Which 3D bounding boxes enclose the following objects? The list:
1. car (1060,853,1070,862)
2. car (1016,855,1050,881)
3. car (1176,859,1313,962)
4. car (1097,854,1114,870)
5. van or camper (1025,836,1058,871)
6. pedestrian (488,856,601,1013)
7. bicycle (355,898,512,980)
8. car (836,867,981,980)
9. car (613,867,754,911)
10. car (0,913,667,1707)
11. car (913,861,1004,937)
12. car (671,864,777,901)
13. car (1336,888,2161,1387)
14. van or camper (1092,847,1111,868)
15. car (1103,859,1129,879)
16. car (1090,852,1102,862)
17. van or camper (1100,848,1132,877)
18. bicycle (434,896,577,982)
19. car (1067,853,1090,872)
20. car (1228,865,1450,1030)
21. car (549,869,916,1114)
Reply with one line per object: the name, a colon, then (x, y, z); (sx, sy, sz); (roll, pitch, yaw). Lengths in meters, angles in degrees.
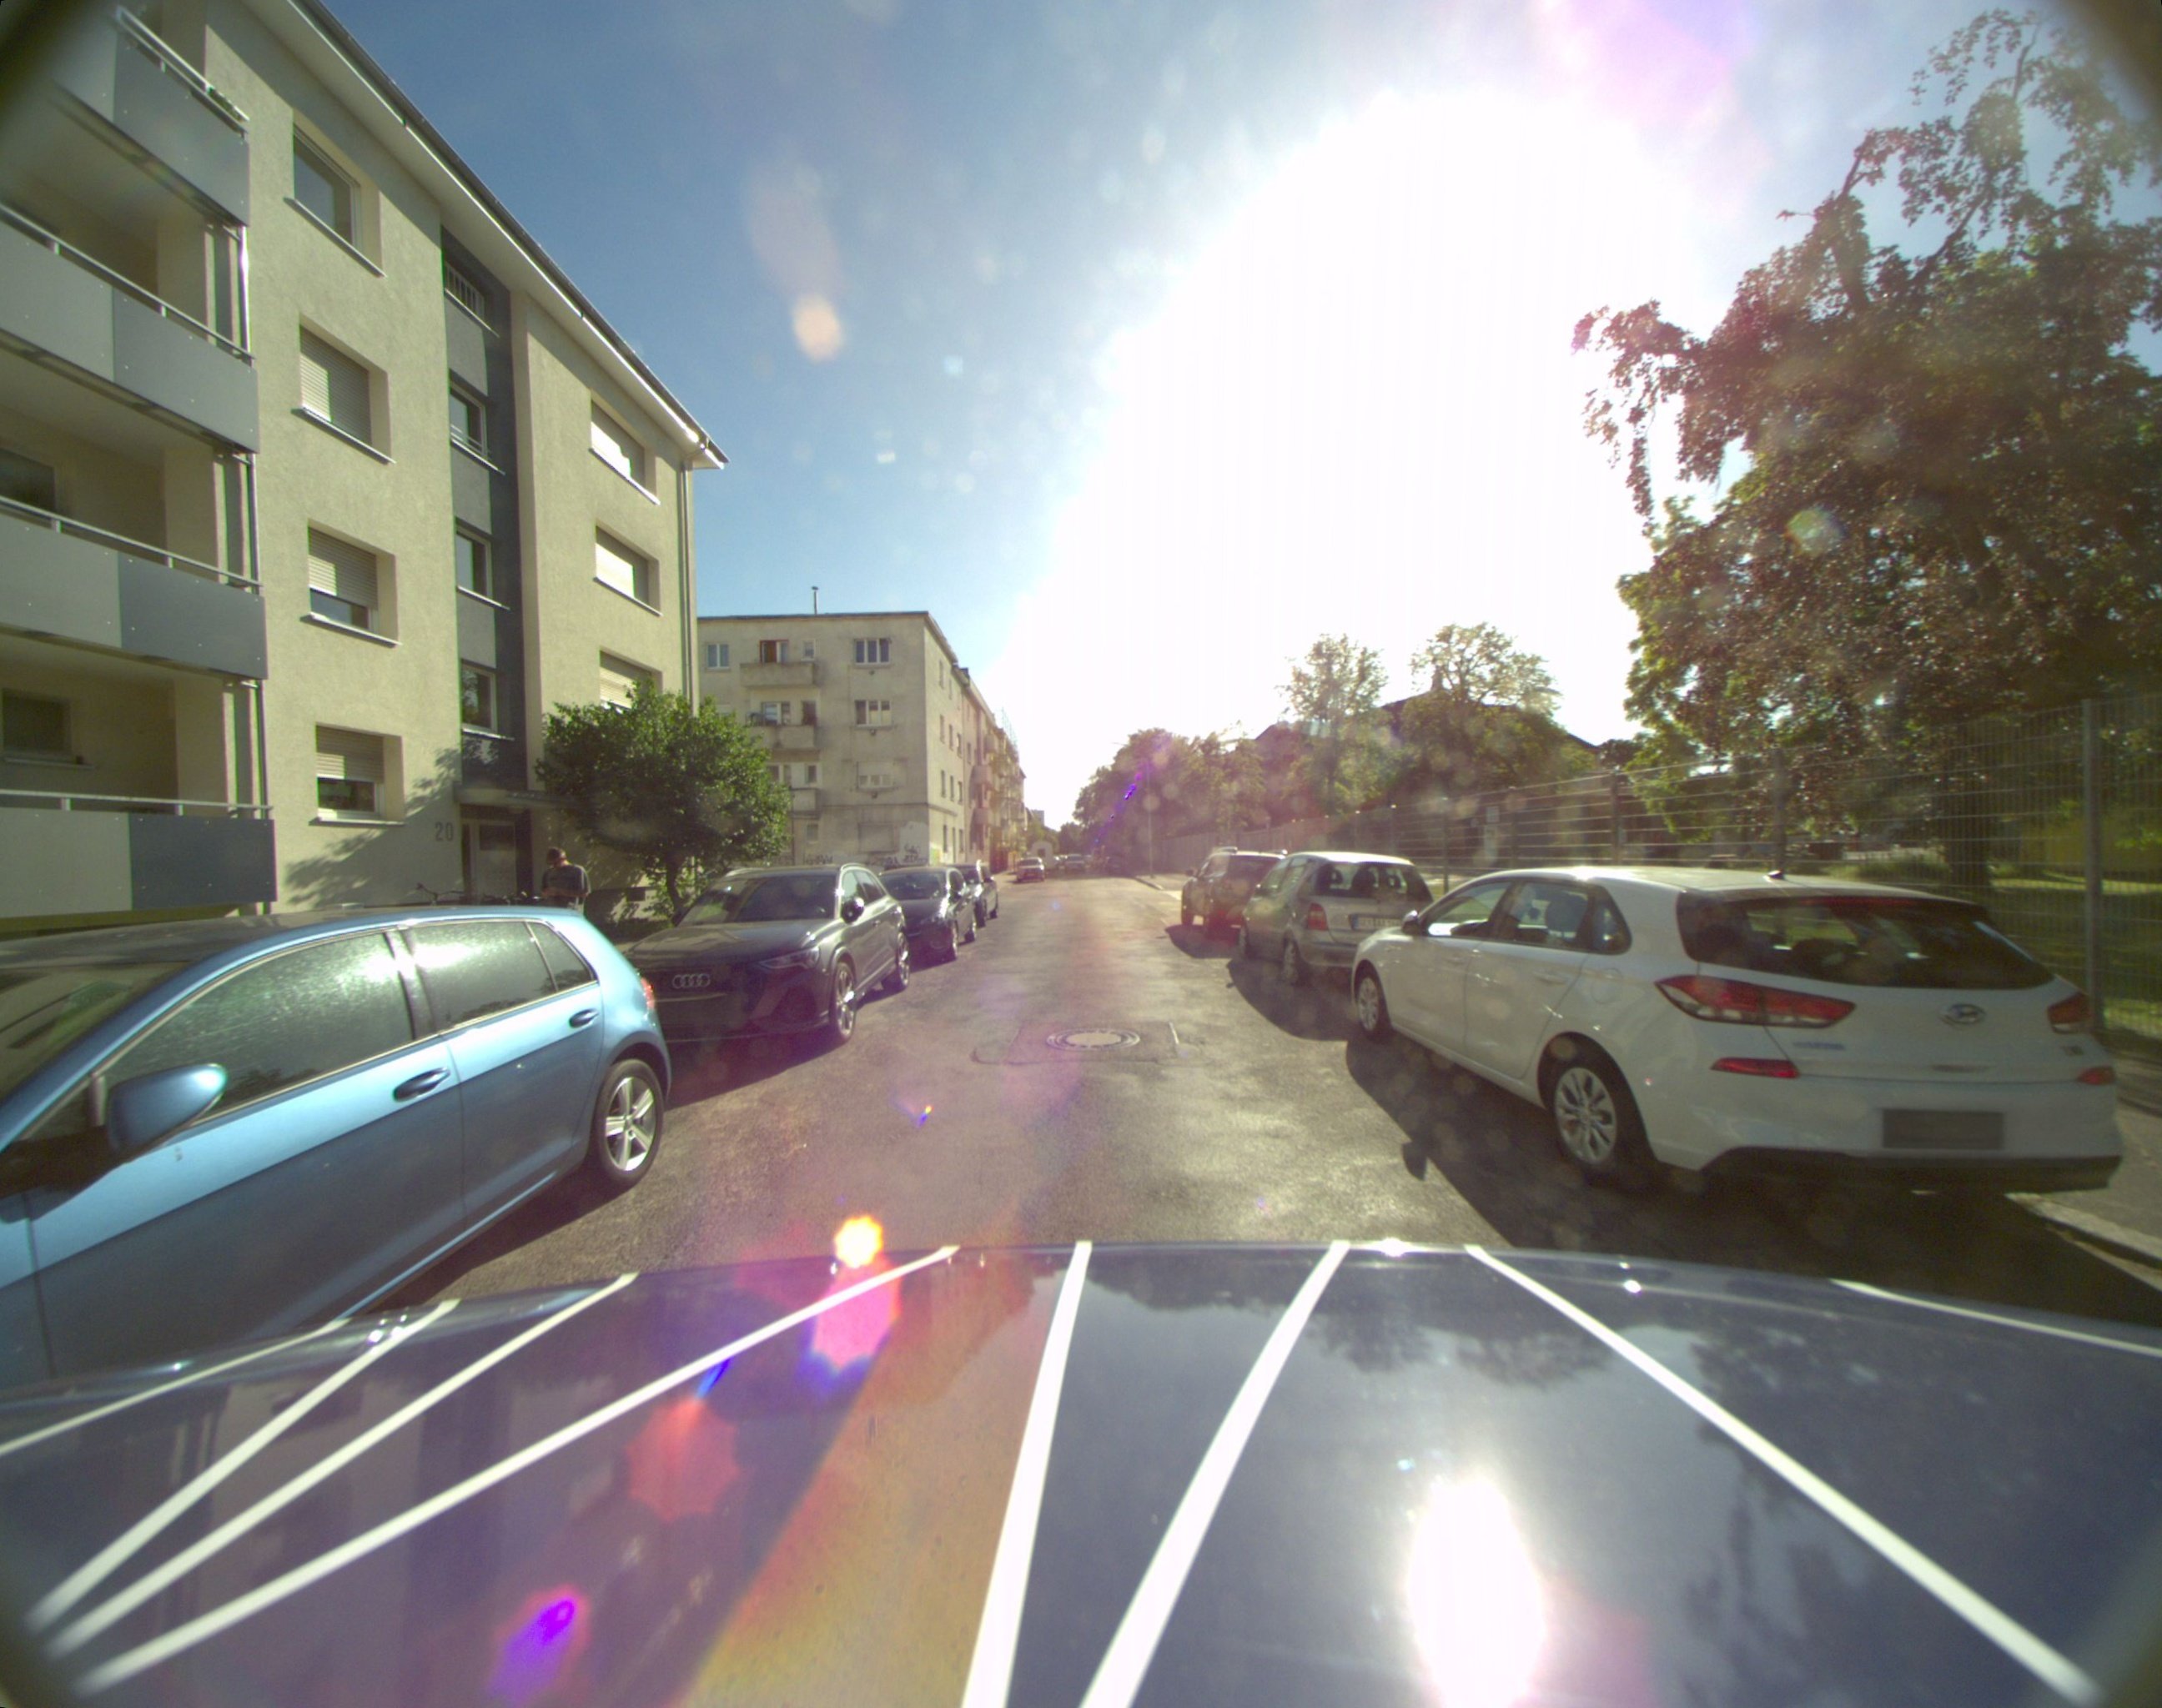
car: (-2.785, 0.545, 132.841); (1.652, 1.451, 3.999); (-2, 1, -2)
car: (-3.156, 0.887, 50.831); (2.070, 1.544, 3.999); (-2, 1, -2)
car: (3.071, 0.981, 15.128); (1.717, 1.654, 4.163); (2, 1, -1)
car: (2.682, 0.841, 84.202); (1.652, 1.674, 3.999); (-2, 1, -2)
van or camper: (-3.754, -0.038, 73.390); (2.958, 3.161, 6.172); (0, 0, -1)
pedestrian: (-6.385, 0.924, 9.088); (0.646, 1.761, 0.841); (-2, 1, 5)
bicycle: (-9.559, 1.208, 11.360); (0.486, 0.955, 2.283); (-1, 0, -3)
car: (-2.753, 1.041, 12.908); (1.609, 1.476, 3.797); (-2, 1, -1)
car: (-14.081, 1.238, 27.087); (4.046, 1.406, 1.804); (-1, -2, -1)
car: (-3.051, 1.106, 1.986); (1.757, 1.472, 4.079); (-2, 1, -2)
car: (-2.905, 1.013, 18.804); (1.622, 1.539, 4.084); (-1, 1, -1)
car: (-15.350, 1.207, 32.790); (3.718, 1.450, 1.692); (-1, -1, 1)
car: (3.140, 1.043, 4.588); (1.798, 1.436, 4.119); (0, 1, 0)
van or camper: (2.538, 0.388, 95.932); (2.126, 2.484, 3.999); (-2, 1, -2)
car: (2.706, 1.129, 59.326); (1.652, 1.408, 3.999); (-2, 1, -2)
car: (2.656, 0.459, 136.591); (1.999, 1.738, 3.999); (-1, 1, -1)
van or camper: (2.947, 0.656, 65.226); (2.212, 2.268, 5.308); (-2, 1, -2)
bicycle: (-8.431, 1.200, 11.281); (0.486, 1.006, 2.283); (-1, 0, -3)
car: (-0.233, 0.710, 66.874); (1.862, 1.543, 3.998); (-2, 1, -2)
car: (3.124, 1.034, 9.982); (1.568, 1.634, 3.615); (2, 1, -1)
car: (-2.953, 1.027, 7.583); (1.757, 1.550, 4.253); (-2, 1, -2)
